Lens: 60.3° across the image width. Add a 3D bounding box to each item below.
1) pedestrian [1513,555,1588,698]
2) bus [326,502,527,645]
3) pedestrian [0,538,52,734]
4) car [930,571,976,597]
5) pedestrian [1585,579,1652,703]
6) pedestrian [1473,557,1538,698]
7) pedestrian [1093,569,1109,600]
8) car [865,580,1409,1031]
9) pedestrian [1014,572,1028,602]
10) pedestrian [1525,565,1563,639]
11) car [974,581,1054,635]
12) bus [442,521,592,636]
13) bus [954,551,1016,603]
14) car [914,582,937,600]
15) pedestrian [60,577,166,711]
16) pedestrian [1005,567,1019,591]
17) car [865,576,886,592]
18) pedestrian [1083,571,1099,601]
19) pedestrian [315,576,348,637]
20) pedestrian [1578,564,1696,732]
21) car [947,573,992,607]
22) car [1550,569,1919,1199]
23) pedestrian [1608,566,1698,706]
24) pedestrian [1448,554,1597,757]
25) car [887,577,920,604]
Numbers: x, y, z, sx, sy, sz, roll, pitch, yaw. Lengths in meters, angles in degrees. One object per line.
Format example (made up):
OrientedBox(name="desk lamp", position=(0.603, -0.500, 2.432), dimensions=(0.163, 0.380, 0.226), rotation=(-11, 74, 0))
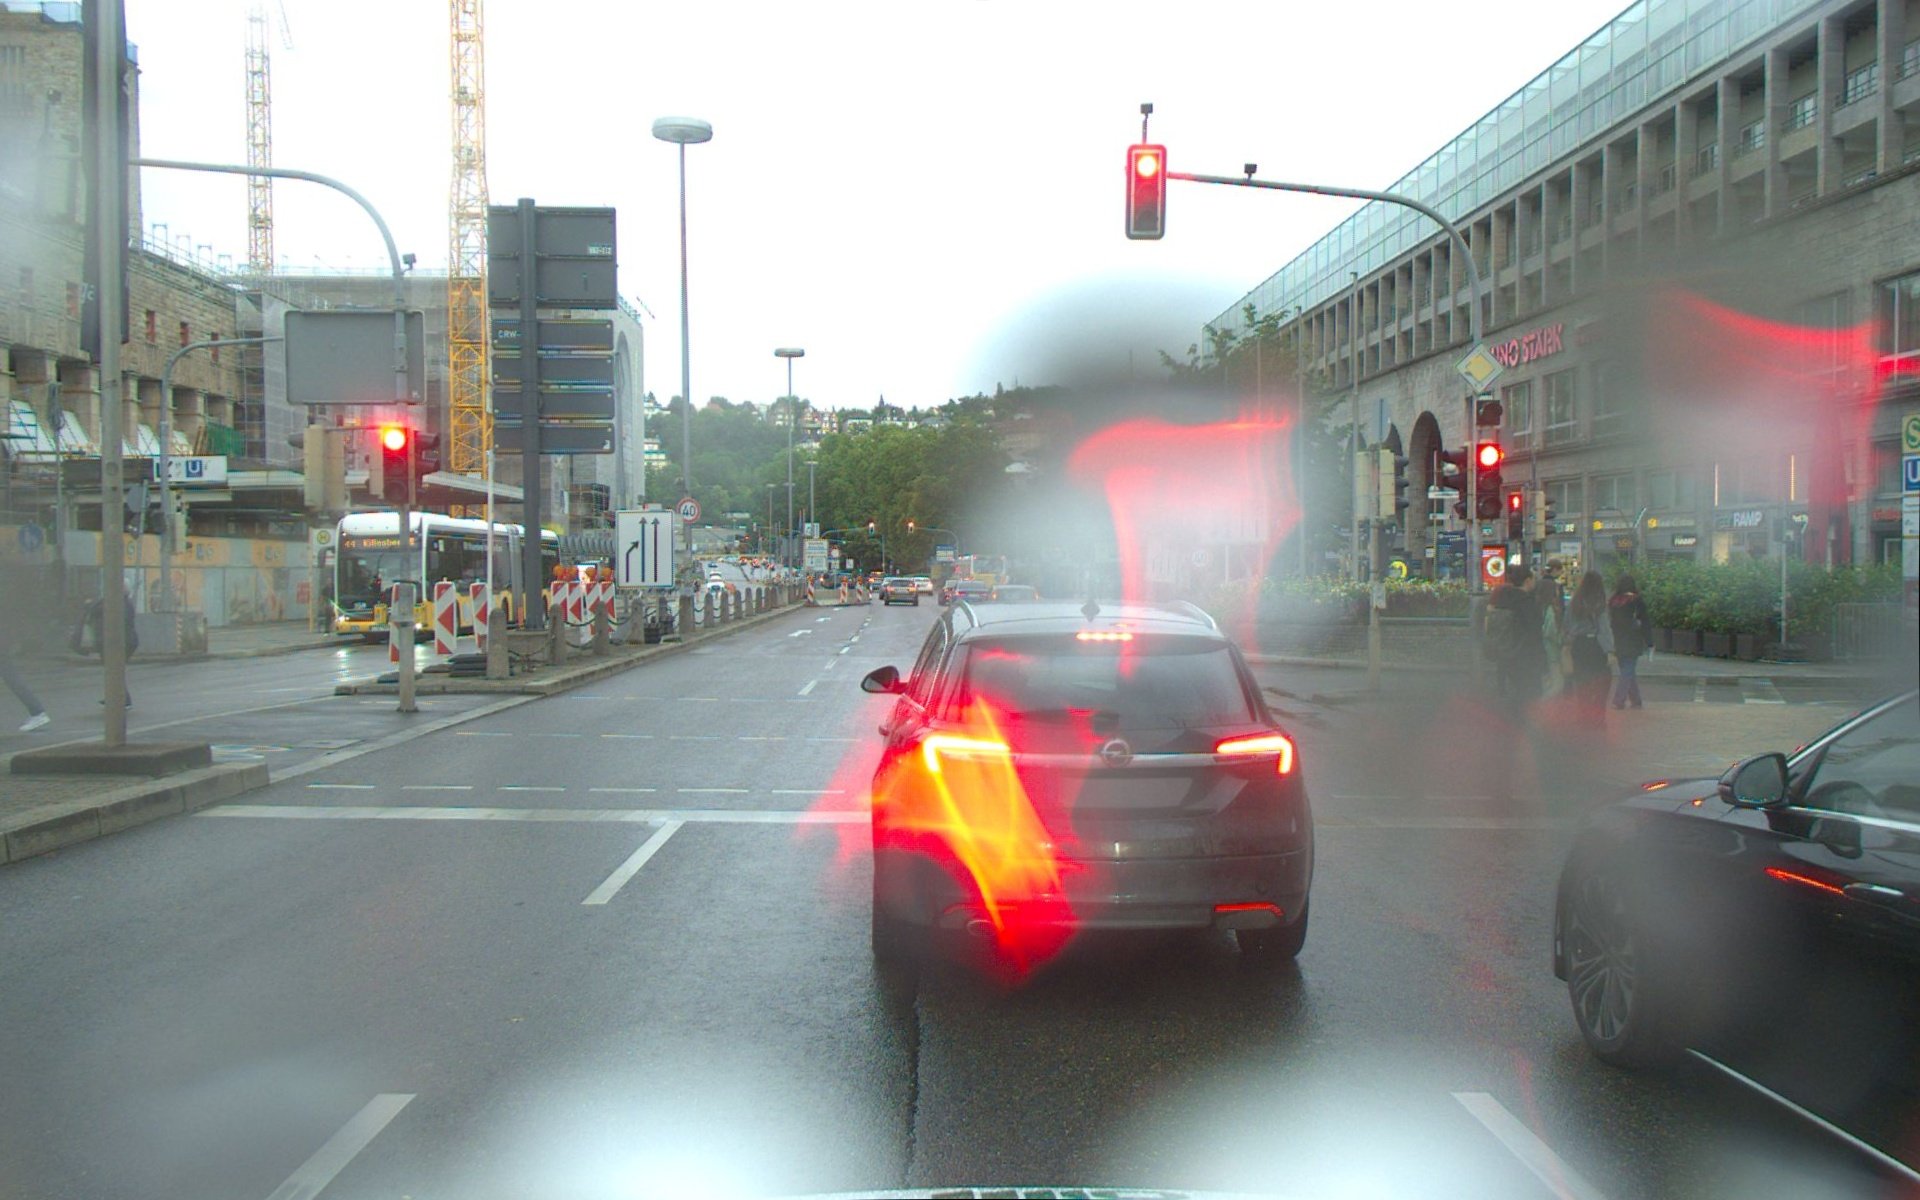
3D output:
OrientedBox(name="pedestrian", position=(7.380, 0.331, 20.676), dimensions=(0.740, 1.747, 0.466), rotation=(1, 0, -5))
OrientedBox(name="bus", position=(-15.212, -0.691, 48.128), dimensions=(2.614, 3.665, 10.237), rotation=(1, 0, -1))
OrientedBox(name="pedestrian", position=(-9.621, 0.351, 16.495), dimensions=(0.784, 1.923, 0.619), rotation=(1, 0, -9))
OrientedBox(name="car", position=(-0.420, -0.880, 92.226), dimensions=(1.722, 1.422, 4.389), rotation=(1, 0, -12))
OrientedBox(name="pedestrian", position=(8.096, 0.498, 20.345), dimensions=(0.665, 1.500, 0.366), rotation=(1, 0, -6))
OrientedBox(name="pedestrian", position=(7.061, 0.353, 21.418), dimensions=(0.560, 1.783, 0.676), rotation=(1, 0, 42))
OrientedBox(name="pedestrian", position=(8.020, -0.881, 94.209), dimensions=(0.748, 1.720, 0.824), rotation=(1, 0, -5))
OrientedBox(name="car", position=(0.565, 0.706, 7.643), dimensions=(1.837, 1.512, 3.999), rotation=(1, 0, -1))
OrientedBox(name="pedestrian", position=(5.087, -1.059, 138.019), dimensions=(1.174, 2.478, 1.228), rotation=(1, 0, 0))
OrientedBox(name="pedestrian", position=(16.364, 0.060, 46.346), dimensions=(0.751, 2.049, 0.820), rotation=(1, 0, 41))
OrientedBox(name="car", position=(1.479, 0.221, 46.310), dimensions=(1.809, 1.422, 3.663), rotation=(1, 0, -5))
OrientedBox(name="bus", position=(-15.371, -0.683, 58.311), dimensions=(2.614, 3.665, 10.209), rotation=(1, 0, -1))
OrientedBox(name="bus", position=(1.699, -1.580, 120.926), dimensions=(4.089, 3.529, 14.651), rotation=(1, 0, -1))
OrientedBox(name="car", position=(-2.757, -0.719, 133.652), dimensions=(1.808, 1.422, 3.563), rotation=(1, 0, -1))
OrientedBox(name="pedestrian", position=(-10.303, 0.522, 20.148), dimensions=(0.854, 1.588, 0.787), rotation=(1, 0, -1))
OrientedBox(name="pedestrian", position=(4.761, -1.925, 151.763), dimensions=(1.174, 2.186, 1.228), rotation=(1, 0, 0))
OrientedBox(name="car", position=(-7.673, -1.438, 149.822), dimensions=(1.723, 1.422, 3.563), rotation=(1, 0, -1))
OrientedBox(name="pedestrian", position=(7.575, -0.782, 95.479), dimensions=(0.748, 1.720, 0.824), rotation=(1, 0, -5))
OrientedBox(name="pedestrian", position=(-17.836, 0.176, 46.954), dimensions=(0.646, 1.710, 0.644), rotation=(1, 0, -1))
OrientedBox(name="pedestrian", position=(6.873, 0.477, 16.828), dimensions=(0.778, 1.654, 0.899), rotation=(1, 0, -4))
OrientedBox(name="car", position=(0.398, -0.439, 74.516), dimensions=(1.718, 1.422, 4.645), rotation=(1, 0, -3))
OrientedBox(name="car", position=(3.025, 0.711, 3.588), dimensions=(1.757, 1.528, 4.627), rotation=(1, 0, -1))
OrientedBox(name="pedestrian", position=(8.307, 0.429, 19.853), dimensions=(0.783, 1.636, 0.619), rotation=(1, 0, -5))
OrientedBox(name="pedestrian", position=(5.138, 0.495, 15.141), dimensions=(1.074, 1.782, 0.653), rotation=(-2, 0, -4))
OrientedBox(name="car", position=(-3.077, -0.510, 89.530), dimensions=(1.718, 1.422, 4.536), rotation=(1, 0, -2))
